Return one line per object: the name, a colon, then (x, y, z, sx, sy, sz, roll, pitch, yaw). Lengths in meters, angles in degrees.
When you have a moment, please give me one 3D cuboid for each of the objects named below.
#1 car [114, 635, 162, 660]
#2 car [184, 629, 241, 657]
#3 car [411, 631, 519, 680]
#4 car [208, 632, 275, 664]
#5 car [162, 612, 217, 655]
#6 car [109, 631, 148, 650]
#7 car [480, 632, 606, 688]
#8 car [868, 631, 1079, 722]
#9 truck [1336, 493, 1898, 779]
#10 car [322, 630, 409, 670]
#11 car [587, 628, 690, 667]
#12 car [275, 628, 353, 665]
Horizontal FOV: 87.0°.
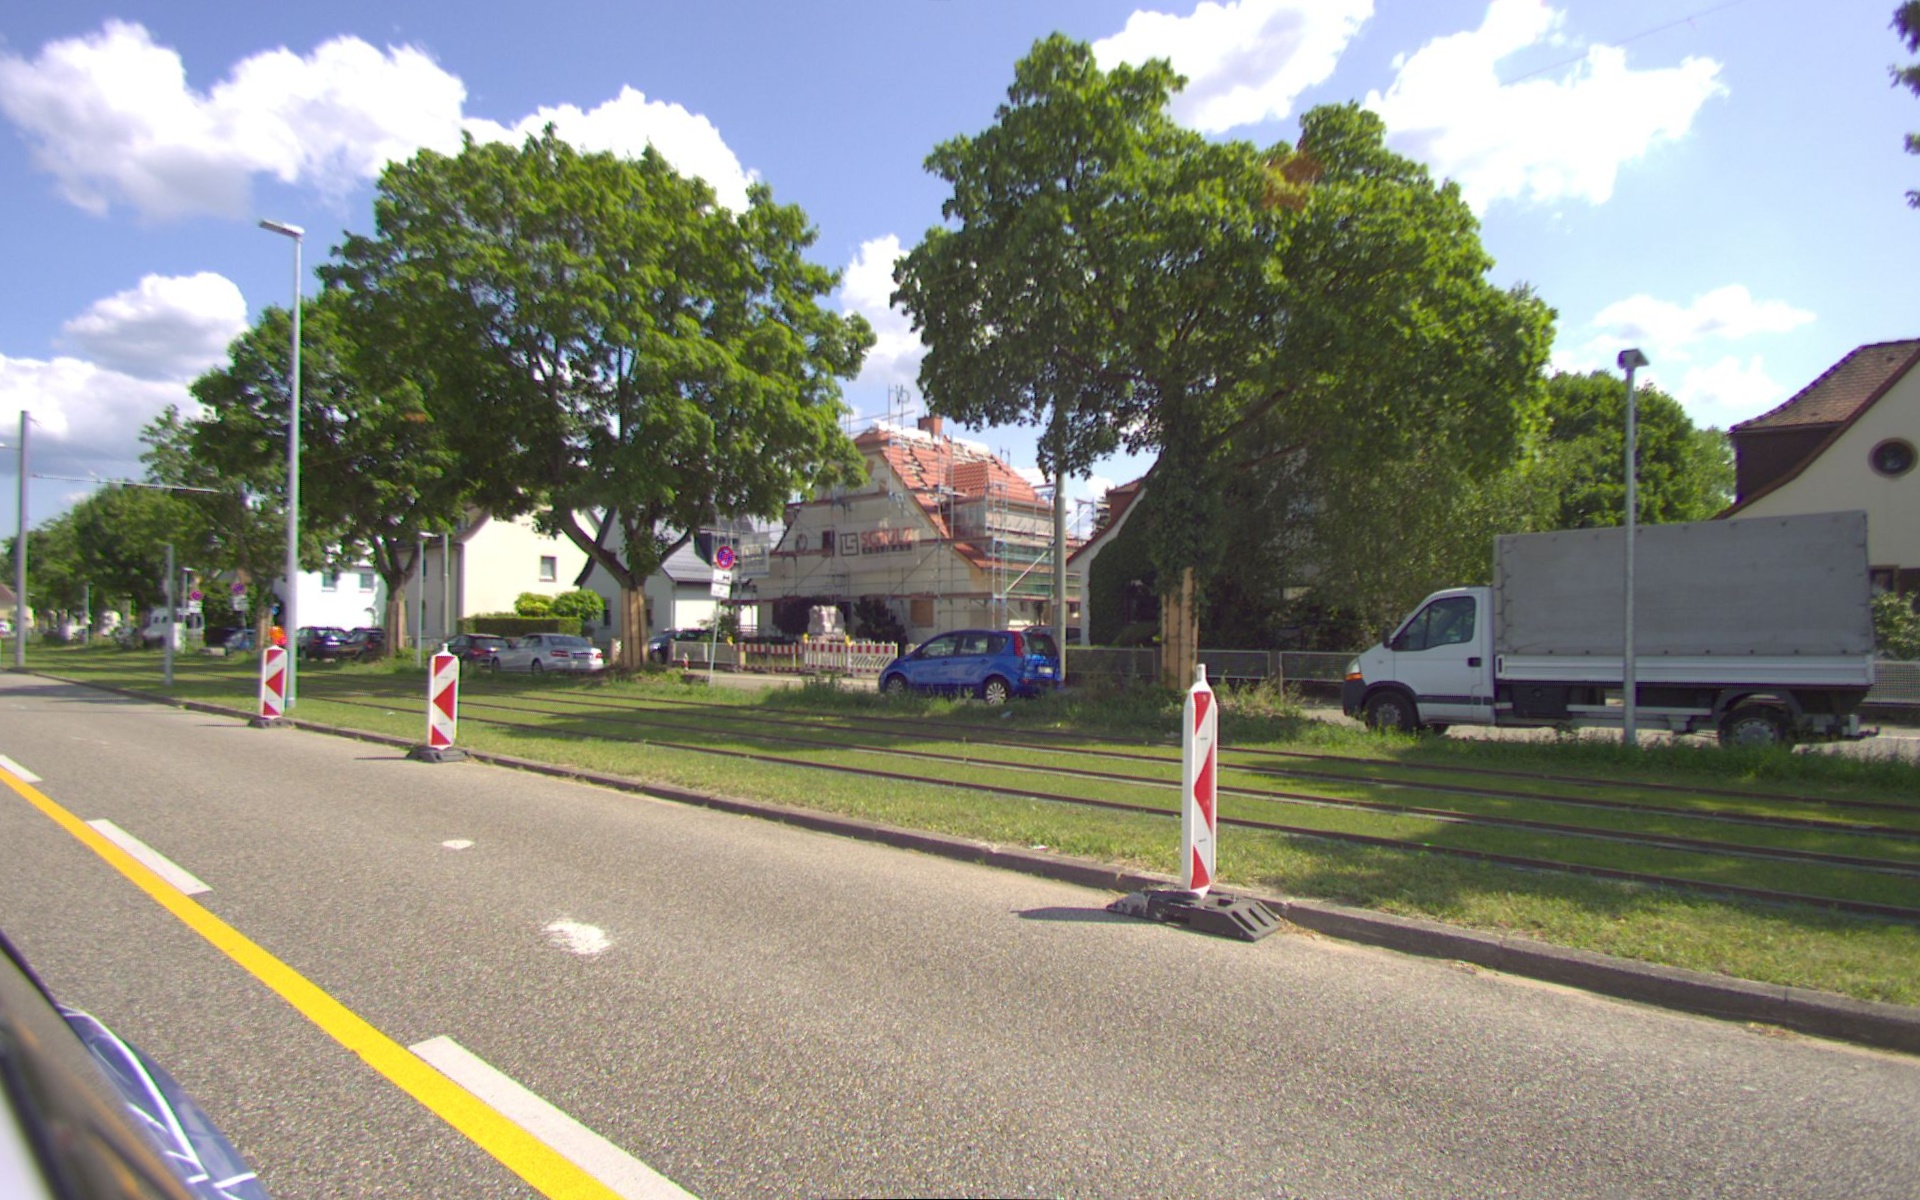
car: (-57.022, 3.272, 70.152, 4.603, 1.623, 1.733, -2, -3, 40)
car: (-44.645, 2.557, 60.406, 4.603, 1.623, 1.733, -2, -3, 40)
car: (-17.613, 1.918, 35.933, 4.603, 1.623, 1.733, -2, -3, 40)
car: (-37.644, 2.472, 52.981, 4.603, 1.623, 1.733, -2, -3, 40)
car: (-48.817, 2.110, 64.086, 4.603, 2.636, 1.733, -2, -3, 40)
car: (-70.201, 3.410, 85.399, 4.603, 1.623, 1.733, -2, -3, 40)
car: (-13.172, 1.833, 31.863, 4.603, 1.623, 1.733, -2, -3, 40)
car: (0.209, 1.446, 20.183, 4.047, 1.623, 1.733, -2, -3, 40)
truck: (8.276, 0.467, 13.358, 5.871, 3.010, 1.982, -2, -3, 41)
car: (-25.182, 2.077, 42.829, 4.603, 1.623, 1.733, -2, -3, 40)
car: (-14.081, 2.051, 44.510, 1.756, 1.623, 3.995, -2, -3, 41)
car: (-29.602, 2.102, 46.333, 4.603, 1.623, 1.733, -2, -3, 40)
